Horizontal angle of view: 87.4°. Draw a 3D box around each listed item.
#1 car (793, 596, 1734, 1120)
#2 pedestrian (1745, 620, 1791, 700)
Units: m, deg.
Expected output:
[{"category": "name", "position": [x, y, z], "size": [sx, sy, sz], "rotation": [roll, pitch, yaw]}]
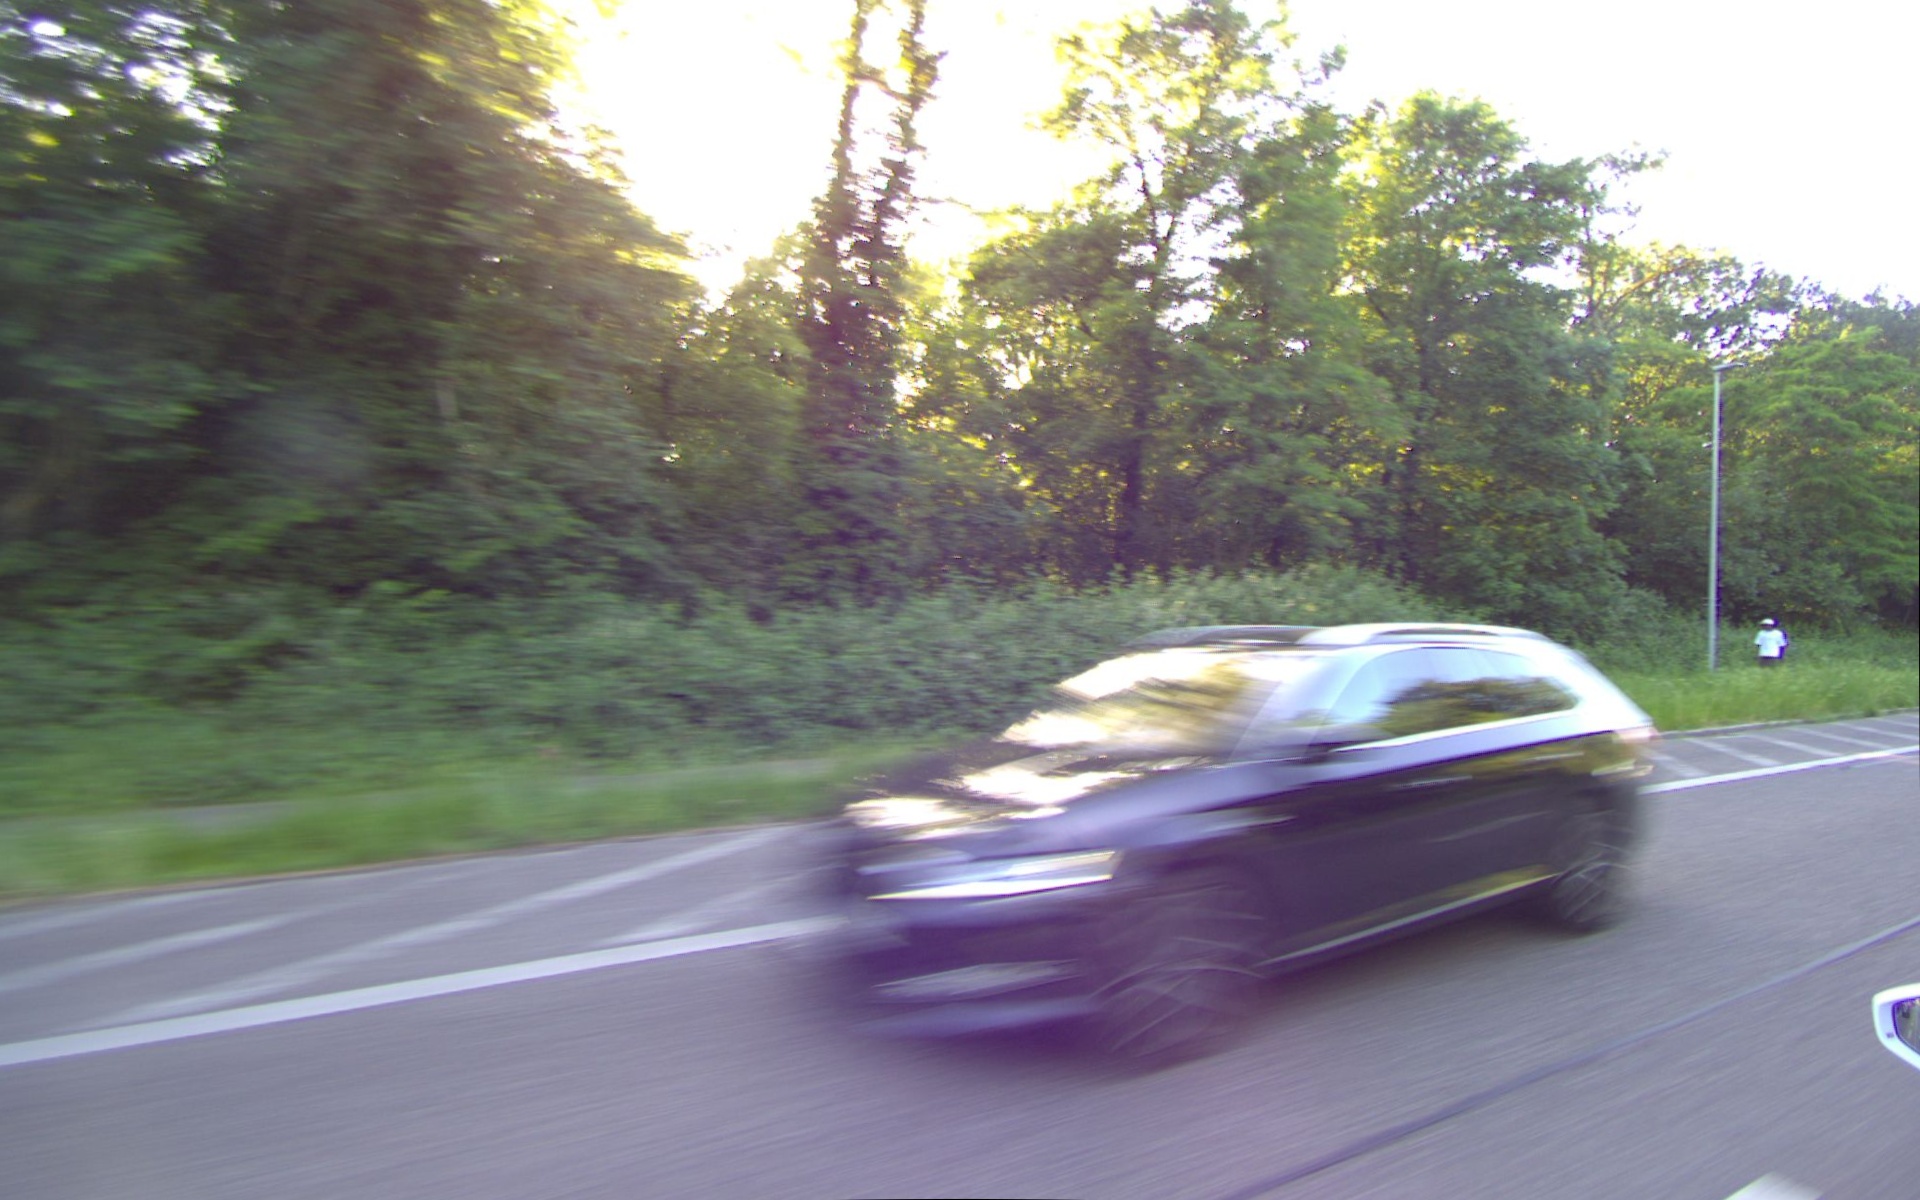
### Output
[{"category": "car", "position": [1.685, 0.807, 4.833], "size": [4.635, 1.510, 1.670], "rotation": [1, -2, -31]}, {"category": "pedestrian", "position": [21.167, 1.557, 26.306], "size": [0.704, 2.040, 0.690], "rotation": [1, 0, -30]}]
